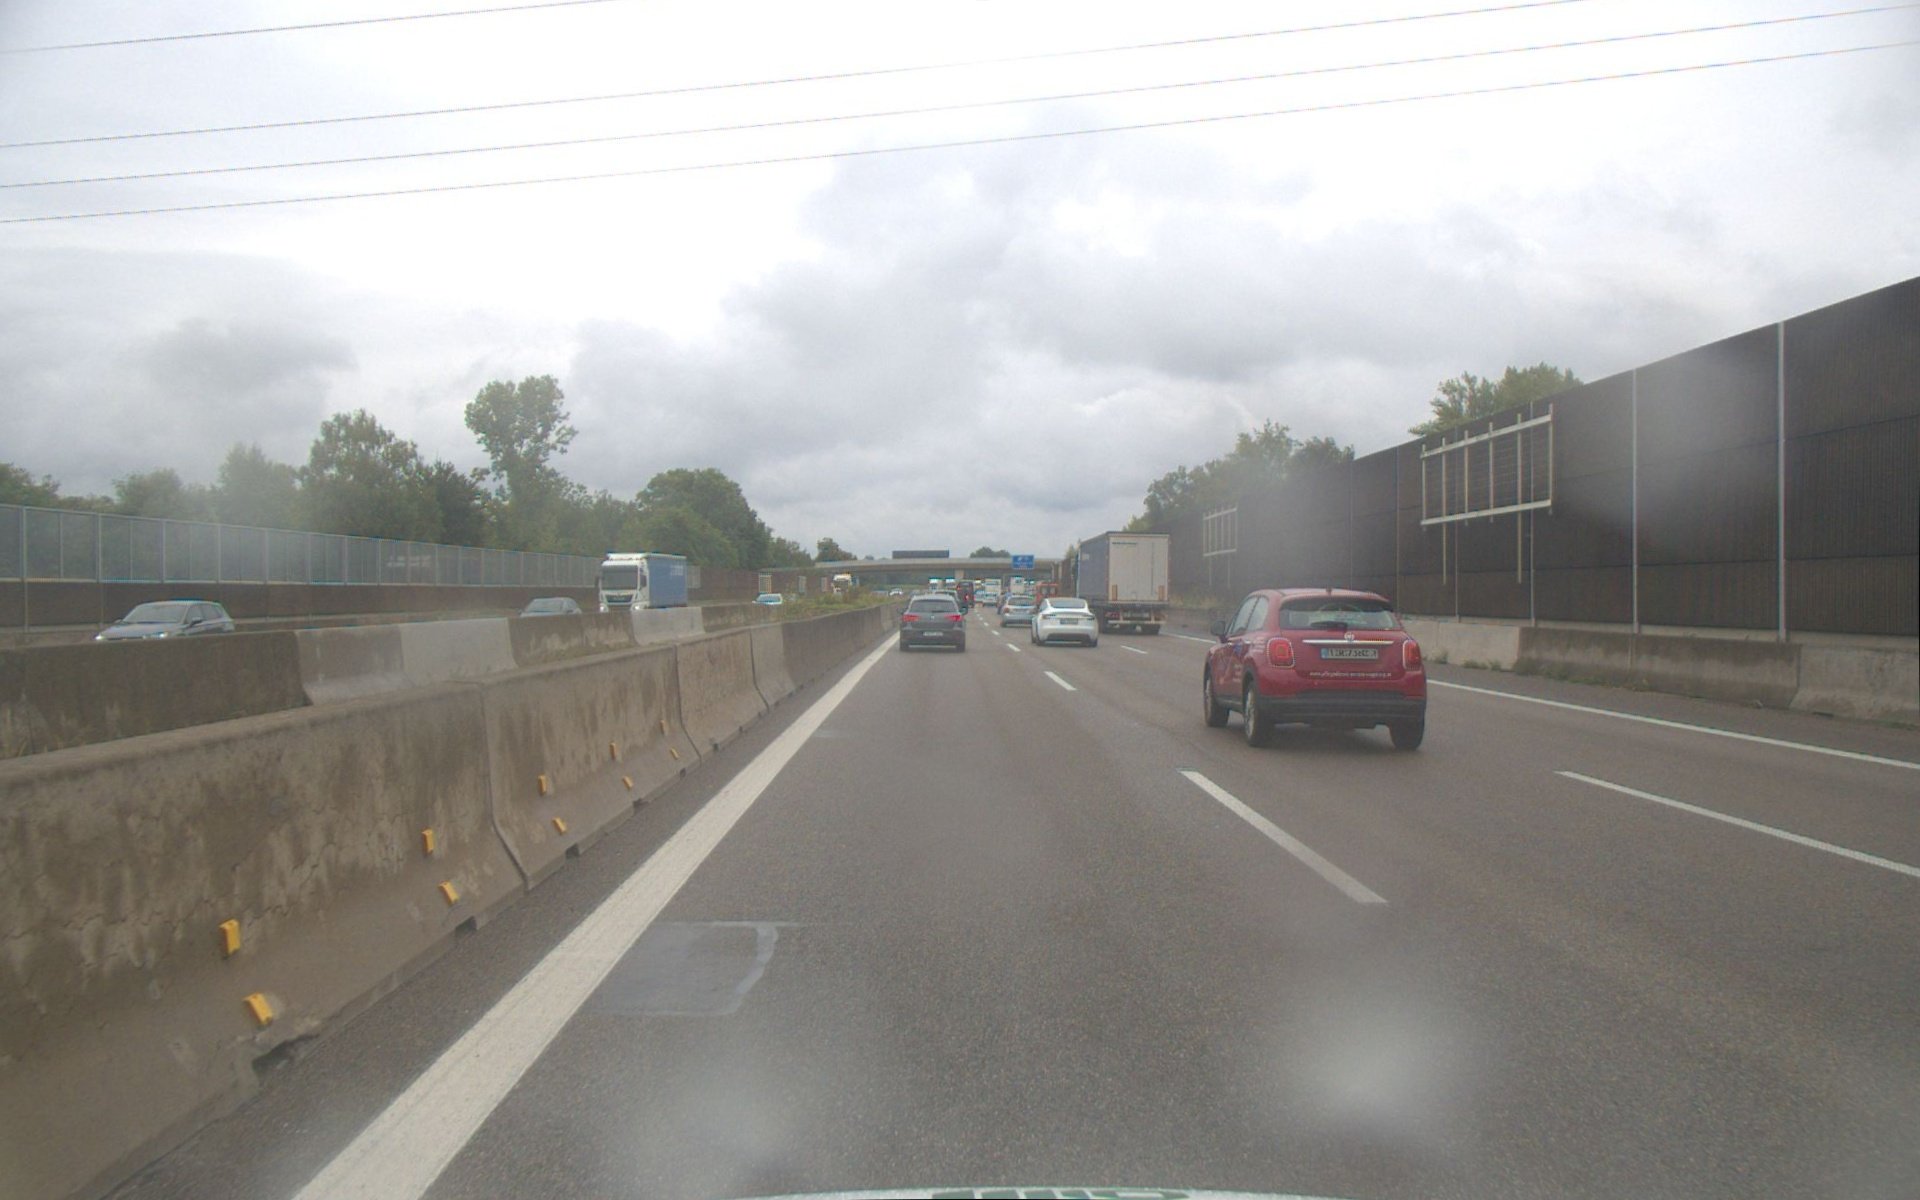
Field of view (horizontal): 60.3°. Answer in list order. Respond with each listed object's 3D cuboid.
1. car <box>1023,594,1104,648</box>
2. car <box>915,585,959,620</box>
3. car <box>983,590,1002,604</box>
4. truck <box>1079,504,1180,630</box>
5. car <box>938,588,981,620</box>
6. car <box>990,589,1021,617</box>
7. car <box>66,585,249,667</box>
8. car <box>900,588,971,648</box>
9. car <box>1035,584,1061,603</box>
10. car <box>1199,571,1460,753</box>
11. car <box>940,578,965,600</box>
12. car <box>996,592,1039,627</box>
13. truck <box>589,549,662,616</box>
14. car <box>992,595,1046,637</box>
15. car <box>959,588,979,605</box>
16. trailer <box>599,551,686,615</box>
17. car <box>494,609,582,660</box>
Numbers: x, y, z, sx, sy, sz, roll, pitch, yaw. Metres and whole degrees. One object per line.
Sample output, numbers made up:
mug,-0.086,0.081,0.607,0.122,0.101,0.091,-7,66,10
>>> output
car,3.084,0.601,50.007,1.954,1.512,3.997,1,0,-3
car,-1.008,0.104,70.982,1.746,1.431,3.624,1,0,-3
car,3.542,-0.341,180.904,1.953,1.545,3.999,1,0,-1
truck,6.891,-1.285,68.377,2.983,4.817,7.676,2,0,-3
car,-0.045,0.190,85.107,1.954,1.612,3.997,0,1,-4
car,3.405,0.205,123.879,1.954,2.049,3.998,2,0,-3
car,-18.471,0.667,38.348,2.077,1.654,4.636,1,-4,-3
car,-0.689,0.445,43.564,1.728,1.478,3.998,1,0,-2
car,7.458,-0.546,140.412,1.953,1.545,3.999,1,0,-1
car,3.818,0.562,17.795,1.917,1.676,4.001,0,2,0
car,-0.689,-0.987,144.423,1.954,1.847,3.998,1,0,-3
car,2.656,0.422,77.258,1.668,1.570,3.836,1,0,-4
truck,-19.788,-1.036,98.242,2.932,3.756,6.880,2,0,-1
car,2.324,0.609,65.862,1.953,1.545,4.000,1,0,0
car,0.896,-0.363,170.659,1.953,1.652,4.000,1,0,0
trailer,-19.941,-1.018,104.835,2.932,3.756,14.054,2,0,-1
car,-15.408,1.311,60.691,2.174,1.654,4.636,1,-4,-3
